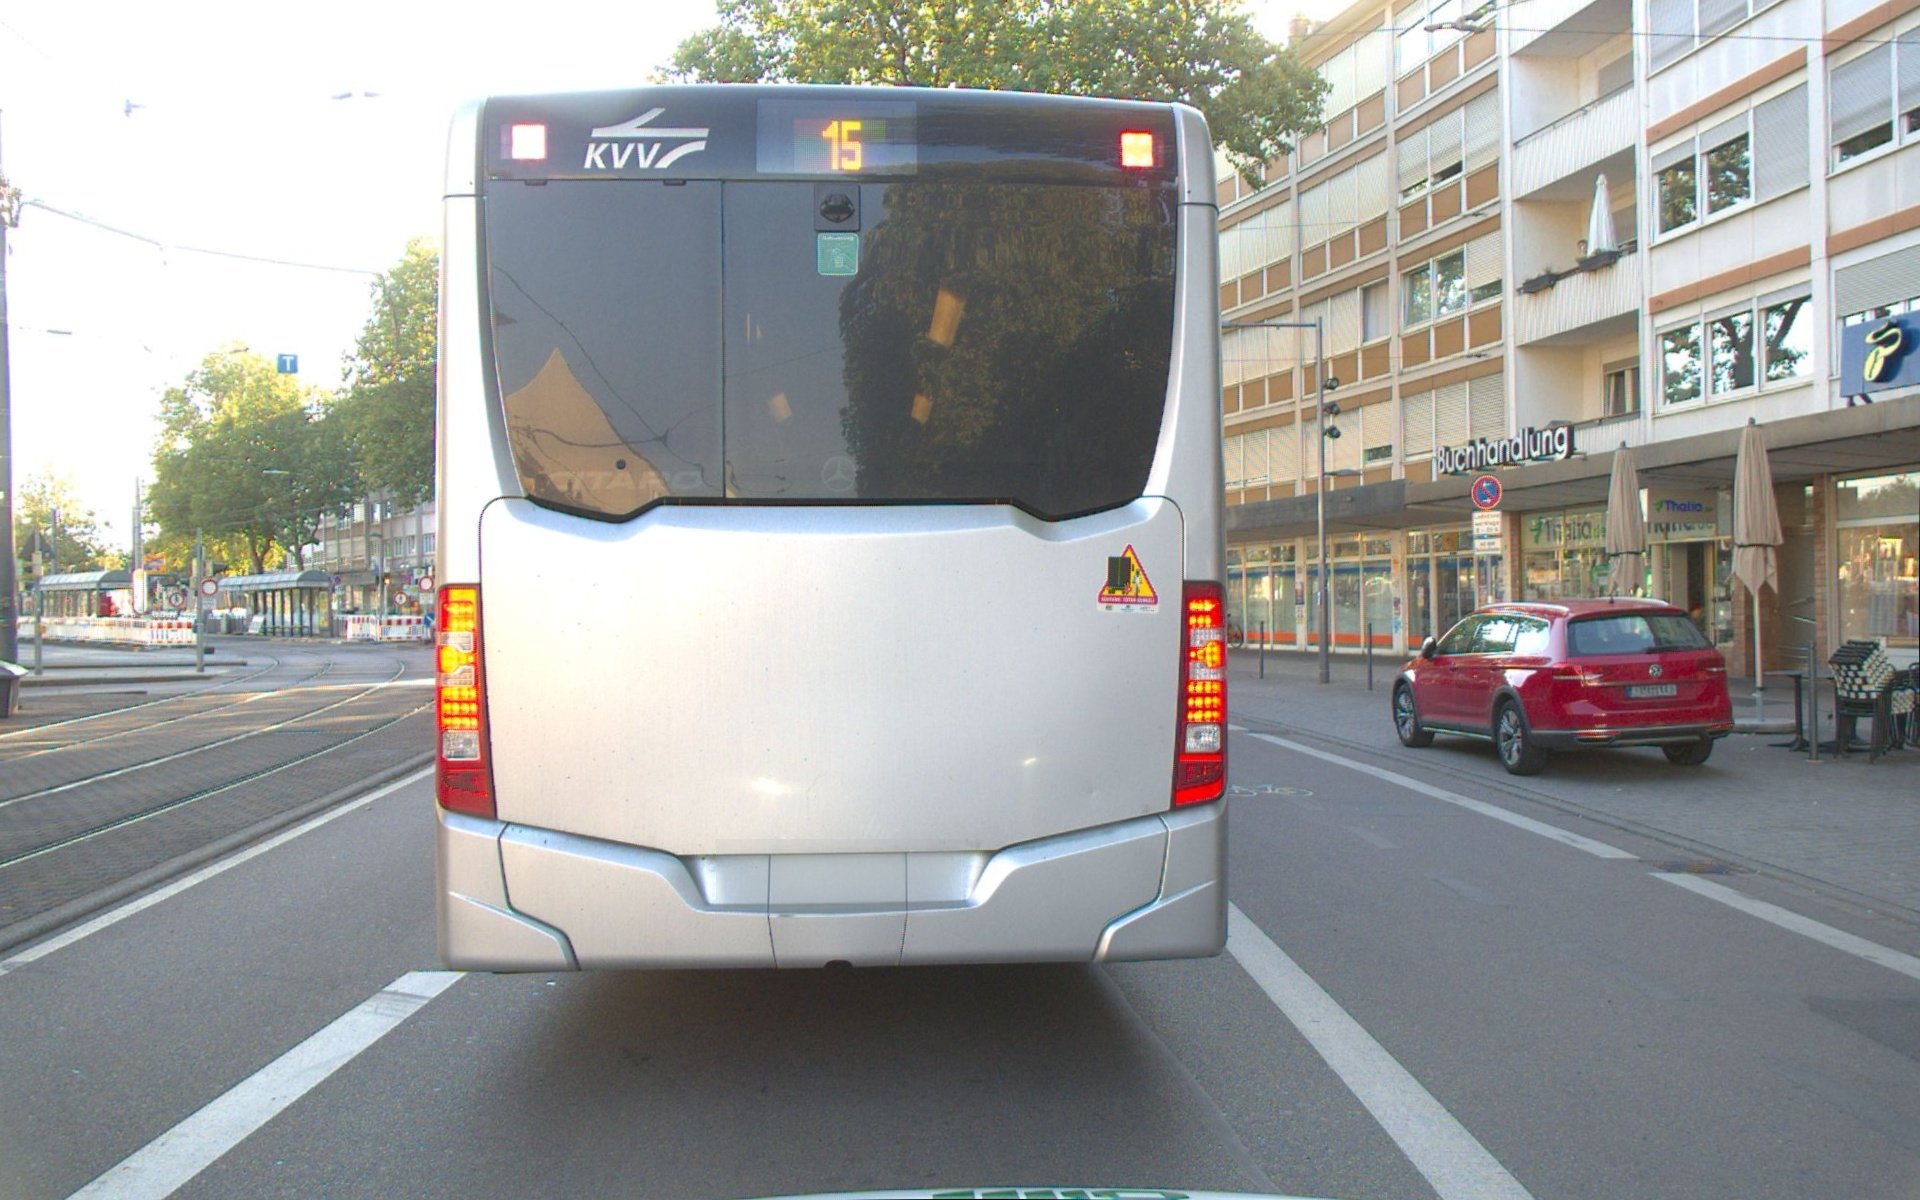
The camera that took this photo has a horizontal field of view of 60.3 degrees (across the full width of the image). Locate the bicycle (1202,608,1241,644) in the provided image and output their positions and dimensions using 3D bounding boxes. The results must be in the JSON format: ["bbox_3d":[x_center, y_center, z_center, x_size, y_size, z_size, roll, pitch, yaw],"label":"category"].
[{"bbox_3d":[7.209,0.711,45.706,0.406,0.961,1.431,-1,0,-20],"label":"bicycle"}]

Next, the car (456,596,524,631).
[{"bbox_3d":[-24.873,0.719,87.488,1.982,1.823,3.940,1,-1,-41],"label":"car"}]

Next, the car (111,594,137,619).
[{"bbox_3d":[-70.929,0.576,140.292,1.604,2.049,3.075,-1,0,-34],"label":"car"}]

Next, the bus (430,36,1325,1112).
[{"bbox_3d":[-0.435,-0.060,9.799,2.578,3.081,9.992,0,0,-3],"label":"bus"}]

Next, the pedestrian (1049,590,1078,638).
[{"bbox_3d":[3.559,0.473,56.801,0.771,1.625,0.625,-1,0,-20],"label":"pedestrian"}]

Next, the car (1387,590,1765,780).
[{"bbox_3d":[5.697,0.705,15.935,1.735,1.508,4.299,-2,0,-4],"label":"car"}]
